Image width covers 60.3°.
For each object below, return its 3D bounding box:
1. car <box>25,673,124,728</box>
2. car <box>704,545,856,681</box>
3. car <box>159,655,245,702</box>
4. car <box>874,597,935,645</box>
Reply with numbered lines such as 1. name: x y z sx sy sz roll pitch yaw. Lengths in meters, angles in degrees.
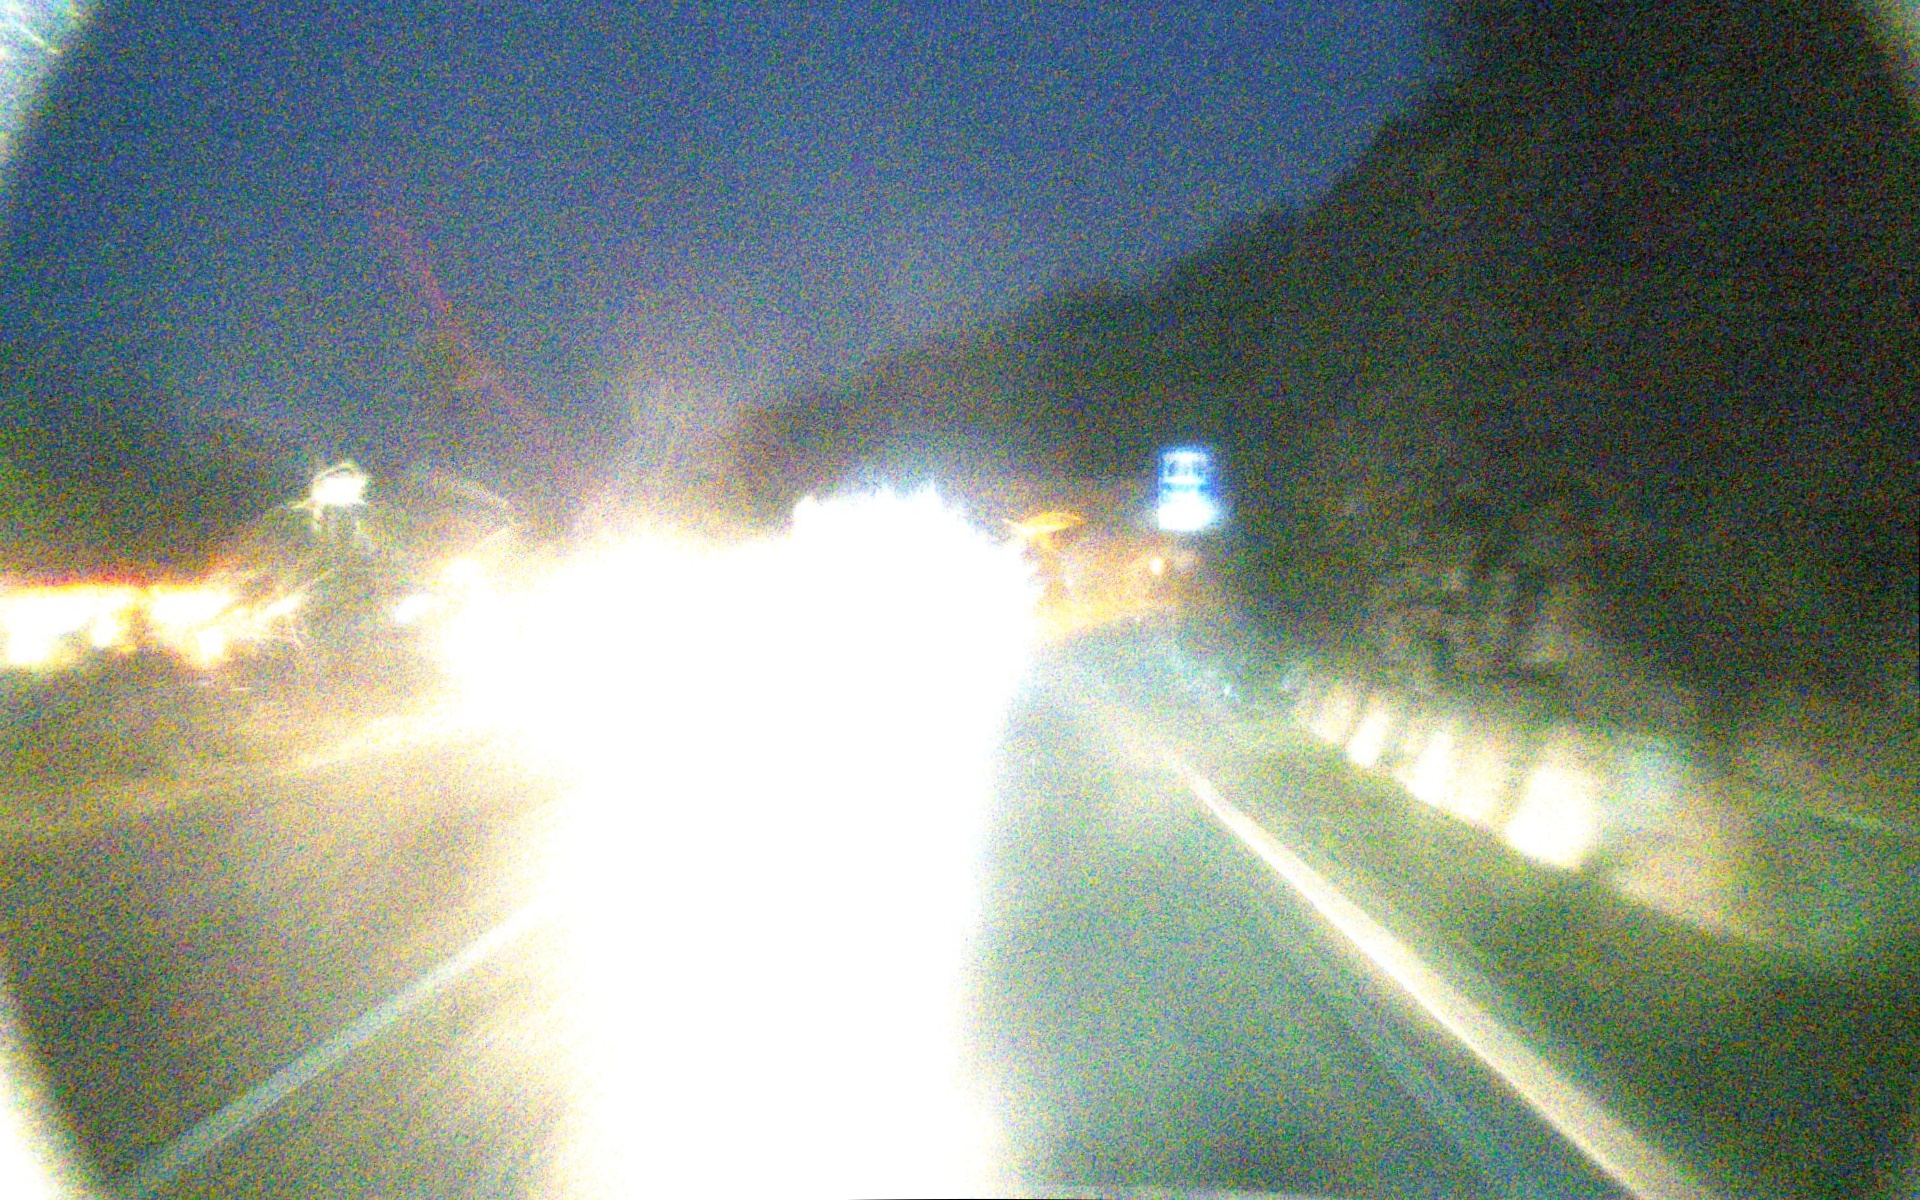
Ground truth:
1. car: -31.299 3.528 58.571 1.712 1.646 3.510 -4 0 -4
2. car: -2.905 0.179 27.737 1.852 2.037 4.881 2 0 1
3. car: -31.951 3.281 69.796 1.736 1.623 3.998 -5 0 -2
4. car: -1.689 0.639 51.151 1.558 1.404 4.326 1 0 2
